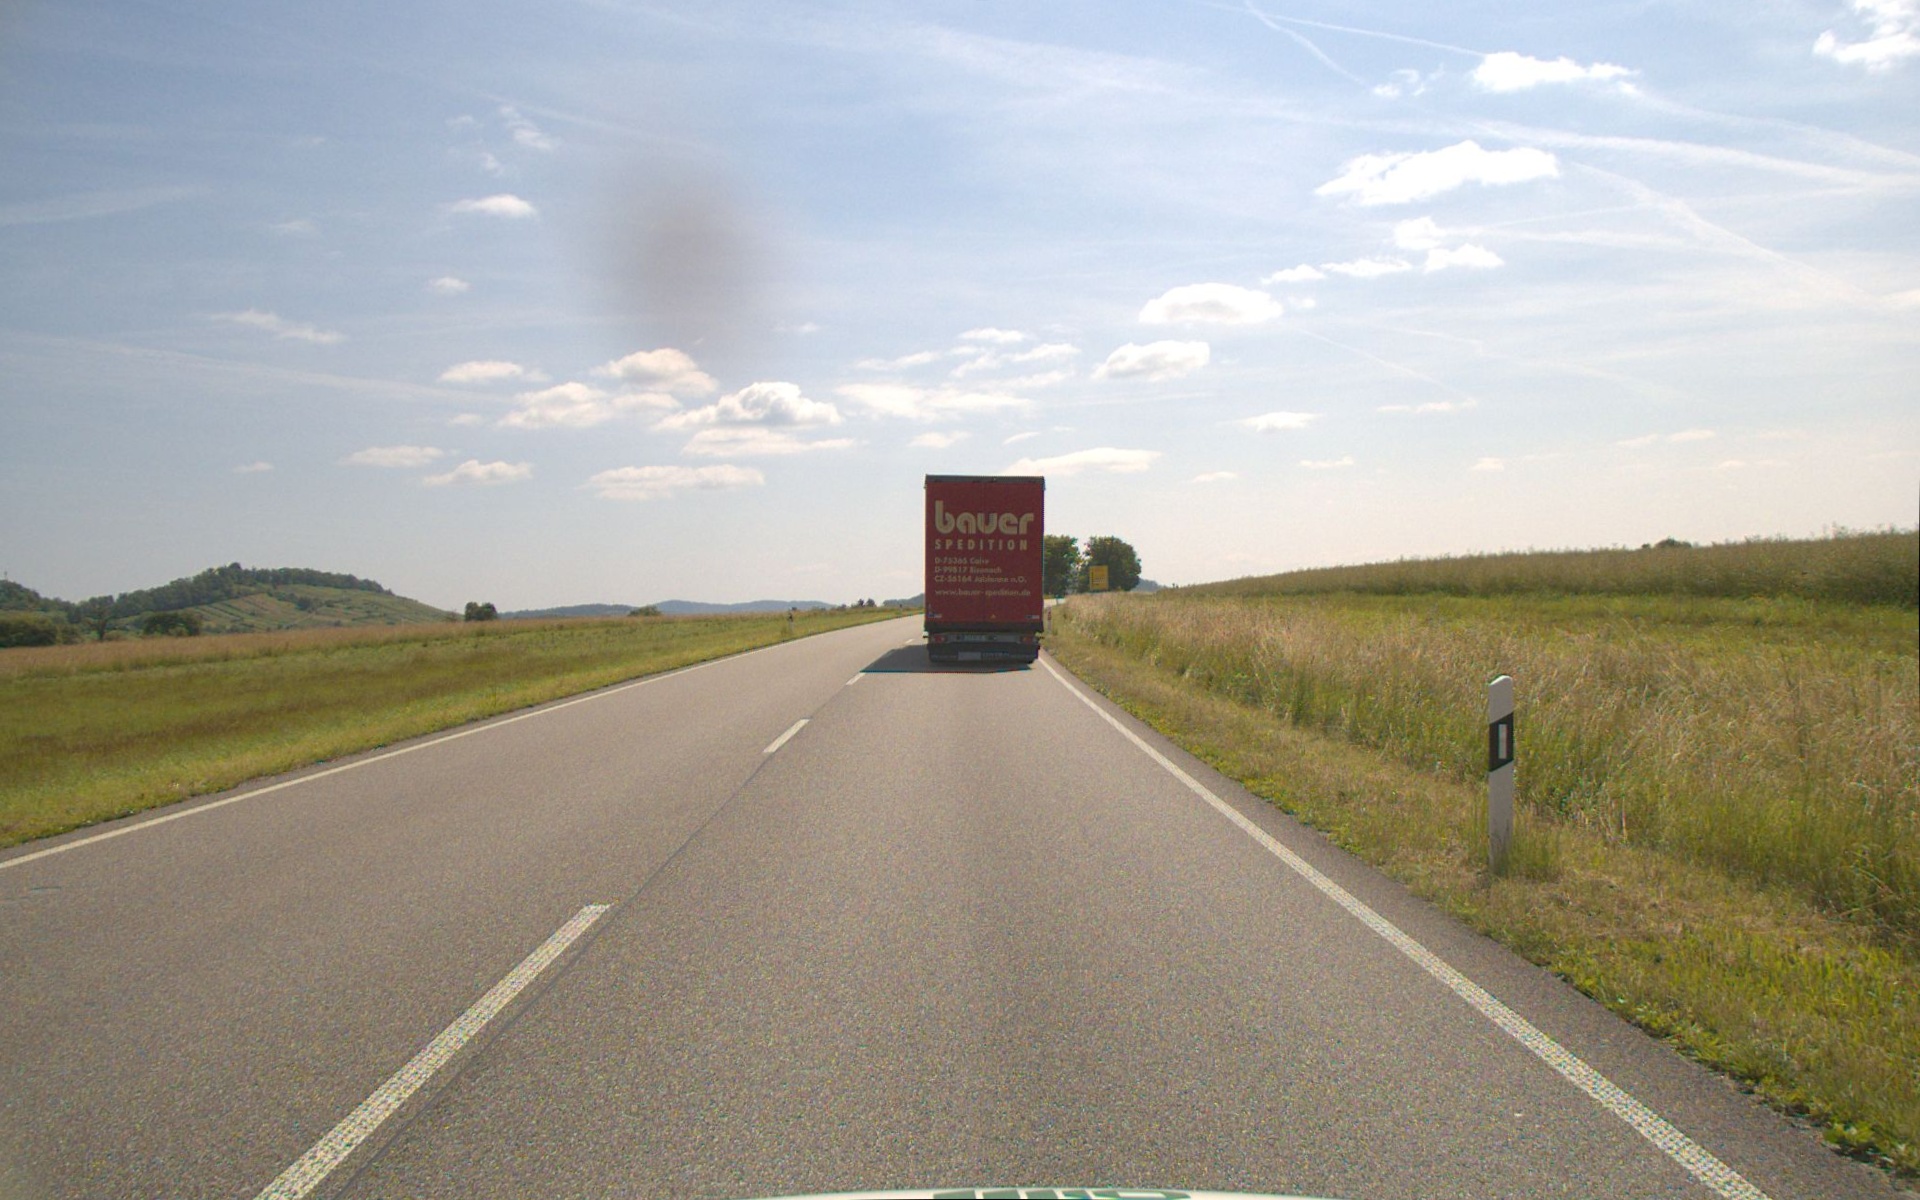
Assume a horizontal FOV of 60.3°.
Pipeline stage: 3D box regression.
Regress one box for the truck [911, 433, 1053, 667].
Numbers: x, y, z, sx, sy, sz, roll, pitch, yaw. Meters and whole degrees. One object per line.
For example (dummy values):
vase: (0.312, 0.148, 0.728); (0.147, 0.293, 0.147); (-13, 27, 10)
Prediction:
truck: (0.536, -1.078, 38.714); (2.914, 4.795, 9.367); (0, 1, 1)
